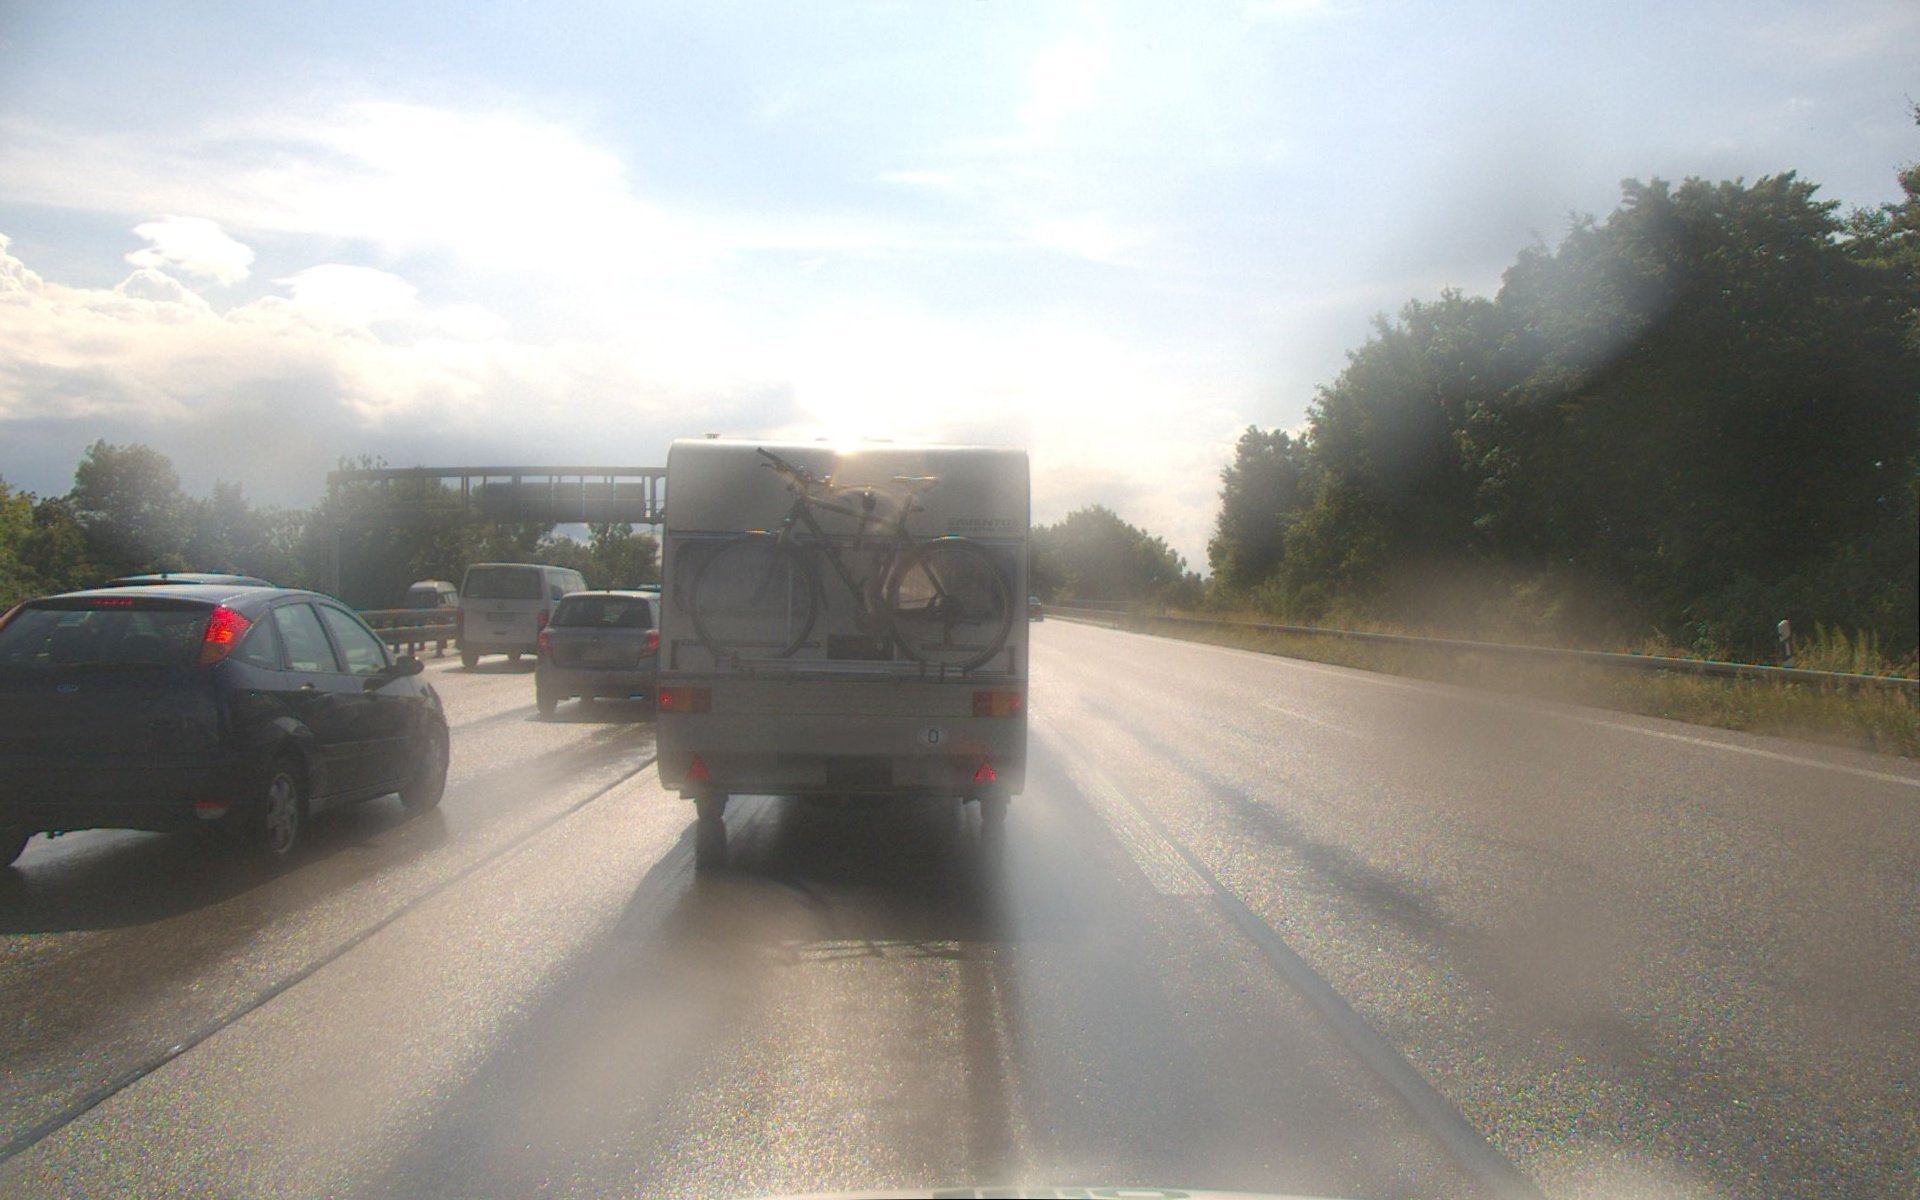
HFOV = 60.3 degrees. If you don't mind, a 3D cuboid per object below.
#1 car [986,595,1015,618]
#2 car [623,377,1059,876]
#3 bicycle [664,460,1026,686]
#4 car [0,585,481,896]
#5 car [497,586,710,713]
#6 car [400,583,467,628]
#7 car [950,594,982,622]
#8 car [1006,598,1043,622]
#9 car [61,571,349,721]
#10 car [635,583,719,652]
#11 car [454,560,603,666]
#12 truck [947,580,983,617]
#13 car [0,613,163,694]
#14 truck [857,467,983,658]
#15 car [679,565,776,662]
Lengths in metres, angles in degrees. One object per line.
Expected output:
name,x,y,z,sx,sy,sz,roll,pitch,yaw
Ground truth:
car,3.031,0.479,124.172,1.839,1.657,3.998,1,0,-3
car,-0.670,0.151,11.131,2.361,2.721,3.999,1,0,-1
bicycle,-0.604,-0.143,8.923,1.894,1.161,0.384,1,0,0
car,-4.293,0.656,9.860,1.723,1.468,4.000,1,0,-1
car,-4.504,0.578,21.448,1.947,1.483,3.826,1,0,-1
car,-24.724,0.240,77.786,1.954,2.049,4.360,1,0,-3
car,0.322,0.478,96.605,1.798,1.585,3.999,1,0,-1
car,4.118,0.637,105.859,1.840,1.521,3.996,1,0,-5
car,-8.893,0.486,19.869,1.747,1.606,3.914,1,0,-2
car,-7.358,0.449,43.355,1.737,1.691,3.997,1,0,-4
car,-8.613,0.238,33.447,1.810,1.967,5.014,1,0,-2
truck,0.301,-0.105,113.873,2.366,2.486,6.052,1,0,-1
car,-17.280,0.991,32.107,1.825,1.415,3.997,1,0,-3
truck,-1.198,-0.943,46.491,3.083,4.707,10.731,0,0,-2
car,-5.167,0.288,37.207,1.839,2.049,3.997,1,0,-4
